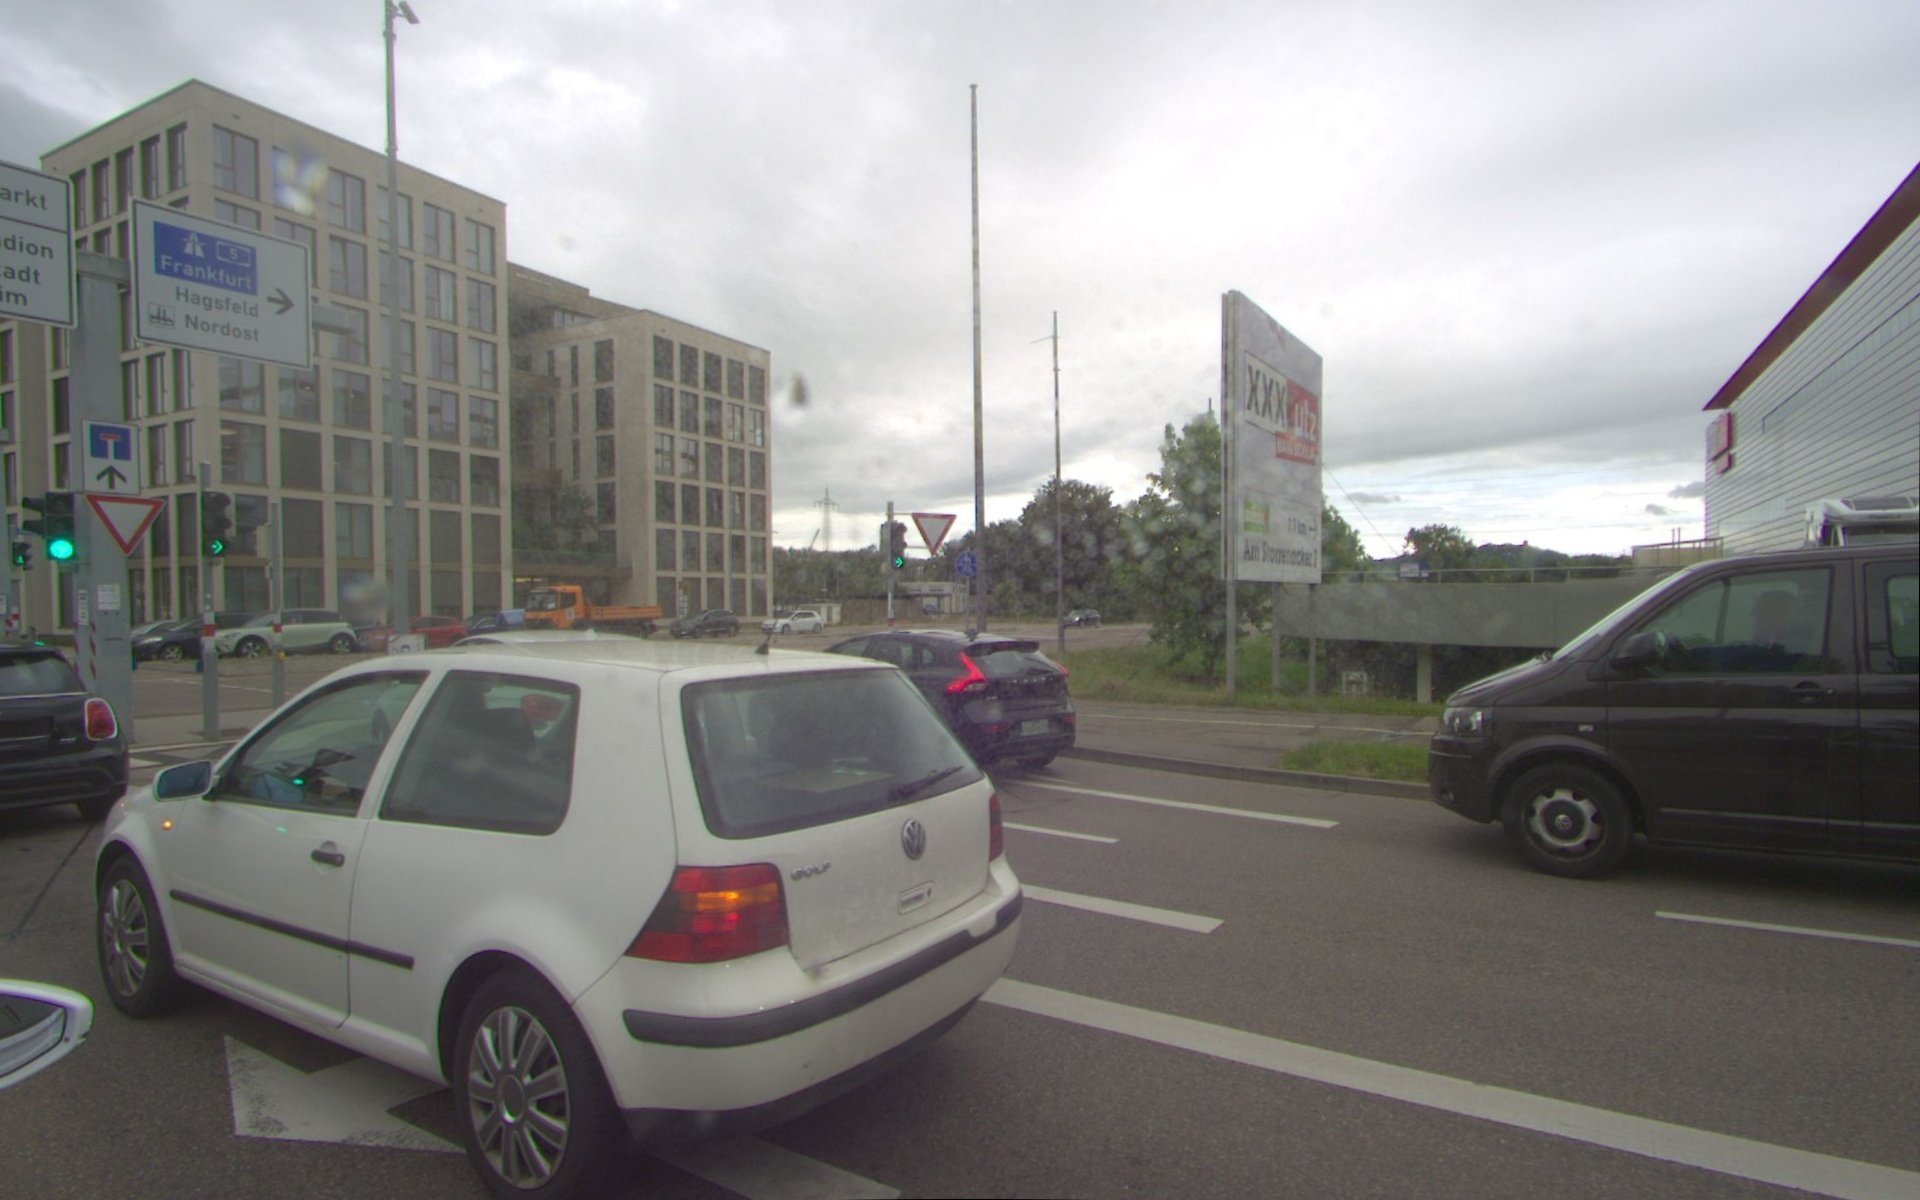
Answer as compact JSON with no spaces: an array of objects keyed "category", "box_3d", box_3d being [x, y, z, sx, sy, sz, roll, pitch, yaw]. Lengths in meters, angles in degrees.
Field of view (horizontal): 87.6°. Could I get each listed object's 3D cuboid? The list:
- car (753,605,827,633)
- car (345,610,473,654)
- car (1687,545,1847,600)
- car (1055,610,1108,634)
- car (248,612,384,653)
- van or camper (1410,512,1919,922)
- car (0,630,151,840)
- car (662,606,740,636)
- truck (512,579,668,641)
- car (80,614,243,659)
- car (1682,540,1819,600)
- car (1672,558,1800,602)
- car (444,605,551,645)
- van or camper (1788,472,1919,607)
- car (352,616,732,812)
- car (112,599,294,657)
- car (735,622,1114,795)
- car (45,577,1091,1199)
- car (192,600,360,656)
[{"category":"car","box_3d":[-10.635,1.228,62.902,1.977,1.678,4.326,-2,-3,41]},{"category":"car","box_3d":[-21.470,1.267,39.155,1.970,1.621,3.984,-1,-2,29]},{"category":"car","box_3d":[28.556,-0.938,35.609,4.200,1.697,1.768,-2,-2,32]},{"category":"car","box_3d":[9.567,1.761,78.577,1.979,1.791,4.385,-2,-3,42]},{"category":"car","box_3d":[-25.089,1.267,39.147,1.843,1.509,4.134,-1,-2,28]},{"category":"van or camper","box_3d":[5.463,0.610,5.821,4.878,2.039,2.151,-2,-2,36]},{"category":"car","box_3d":[-8.090,0.971,7.786,3.592,1.433,1.783,-2,-2,33]},{"category":"car","box_3d":[-14.885,1.248,57.768,1.973,1.678,4.098,-1,-2,33]},{"category":"truck","box_3d":[-17.166,0.575,46.890,2.779,2.672,6.647,-1,-2,30]},{"category":"car","box_3d":[-27.593,1.272,34.738,1.724,1.450,4.083,-1,-2,28]},{"category":"car","box_3d":[30.389,-1.109,38.666,3.945,2.039,1.989,-2,-2,34]},{"category":"car","box_3d":[33.516,-0.830,43.405,4.200,1.697,1.768,-2,-2,32]},{"category":"car","box_3d":[-21.333,1.183,46.344,1.969,1.791,4.134,-1,-2,28]},{"category":"van or camper","box_3d":[25.577,-1.490,28.011,2.676,3.175,7.201,-1,-2,32]},{"category":"car","box_3d":[-4.075,0.915,9.409,4.154,1.428,1.819,-2,-3,44]},{"category":"car","box_3d":[-24.841,0.947,33.038,1.969,1.791,4.405,-1,-2,28]},{"category":"car","box_3d":[-0.559,1.010,10.704,1.885,1.467,4.144,1,-3,-41]},{"category":"car","box_3d":[-1.675,0.777,3.904,3.948,1.496,1.829,-2,-2,32]},{"category":"car","box_3d":[-21.700,0.906,31.933,1.875,1.664,4.055,-1,-2,27]}]
